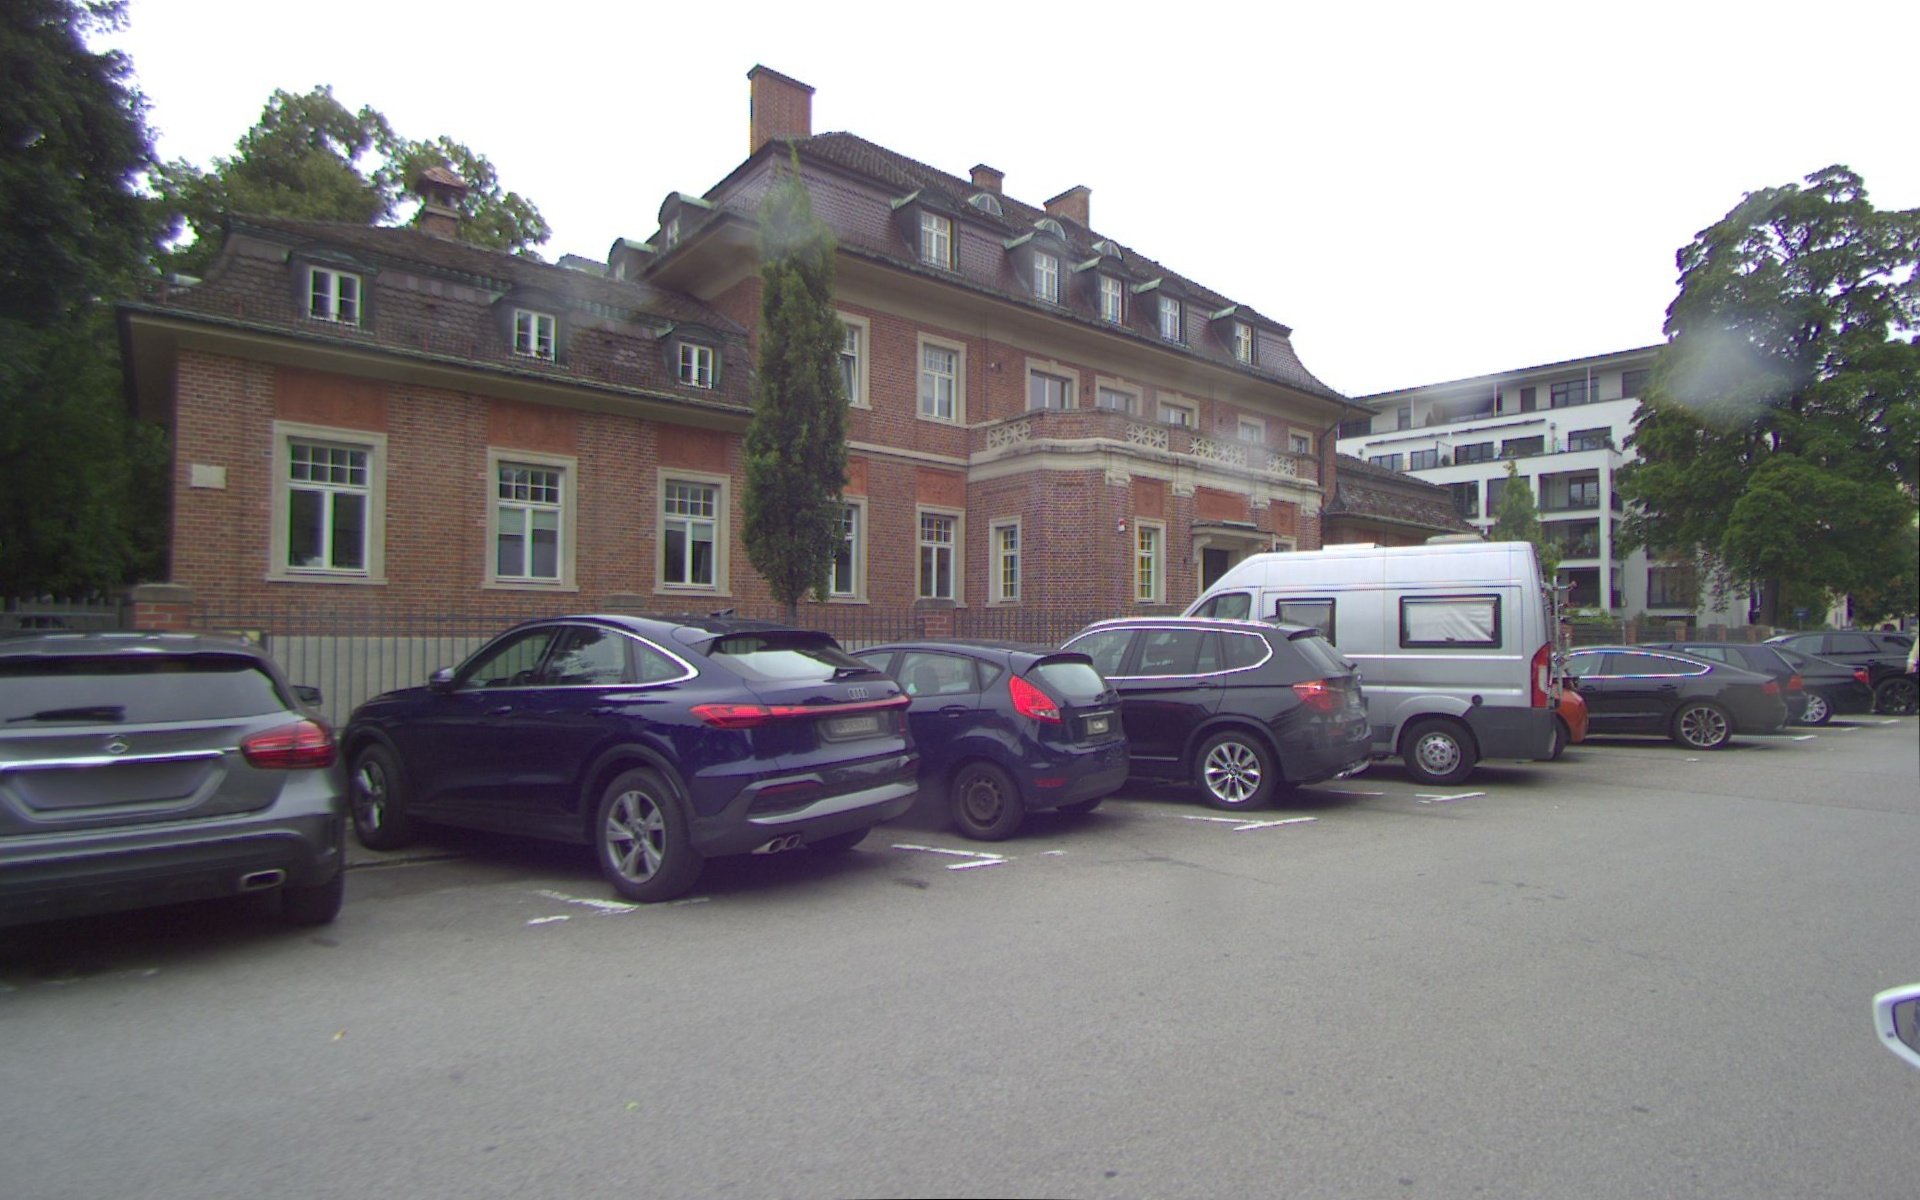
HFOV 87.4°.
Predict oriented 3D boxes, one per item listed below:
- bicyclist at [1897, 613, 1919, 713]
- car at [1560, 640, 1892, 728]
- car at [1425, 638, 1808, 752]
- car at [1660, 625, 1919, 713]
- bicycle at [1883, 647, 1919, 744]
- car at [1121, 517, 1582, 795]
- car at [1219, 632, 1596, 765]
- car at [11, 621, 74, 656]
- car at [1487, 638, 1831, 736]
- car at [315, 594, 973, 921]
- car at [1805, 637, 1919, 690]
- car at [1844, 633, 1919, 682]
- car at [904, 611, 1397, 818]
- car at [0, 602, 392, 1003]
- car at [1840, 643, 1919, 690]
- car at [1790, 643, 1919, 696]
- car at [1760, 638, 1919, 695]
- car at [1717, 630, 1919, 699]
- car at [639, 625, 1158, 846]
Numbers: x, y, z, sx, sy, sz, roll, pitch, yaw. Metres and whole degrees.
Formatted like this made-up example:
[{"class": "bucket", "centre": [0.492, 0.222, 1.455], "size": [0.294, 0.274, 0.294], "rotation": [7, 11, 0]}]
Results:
[{"class": "bicyclist", "centre": [14.019, 0.901, 14.375], "size": [0.920, 1.415, 0.692], "rotation": [2, -2, -34]}, {"class": "car", "centre": [13.645, 1.497, 18.298], "size": [4.442, 1.436, 1.926], "rotation": [-2, -3, 25]}, {"class": "car", "centre": [9.407, 1.331, 14.881], "size": [4.445, 1.470, 1.975], "rotation": [-2, -3, 28]}, {"class": "car", "centre": [17.465, 1.422, 20.870], "size": [4.442, 1.686, 1.987], "rotation": [-2, -4, 25]}, {"class": "bicycle", "centre": [13.977, 1.339, 14.342], "size": [2.096, 1.323, 0.703], "rotation": [2, -2, -34]}, {"class": "car", "centre": [4.415, 0.625, 11.542], "size": [4.557, 2.597, 2.229], "rotation": [-2, -3, 32]}, {"class": "car", "centre": [6.015, 1.232, 13.761], "size": [4.446, 1.537, 1.934], "rotation": [-1, -3, 30]}, {"class": "car", "centre": [-38.042, 1.578, 41.715], "size": [1.741, 1.407, 3.953], "rotation": [2, -2, -41]}, {"class": "car", "centre": [11.429, 1.419, 16.863], "size": [4.442, 1.470, 1.819], "rotation": [-2, -3, 25]}, {"class": "car", "centre": [-2.311, 0.905, 7.015], "size": [4.449, 1.614, 1.961], "rotation": [-2, -4, 32]}, {"class": "car", "centre": [27.378, 1.809, 28.792], "size": [4.429, 1.470, 1.897], "rotation": [-1, -3, 21]}, {"class": "car", "centre": [35.341, 2.096, 36.493], "size": [4.323, 1.721, 2.139], "rotation": [0, -3, 13]}, {"class": "car", "centre": [1.816, 1.046, 10.054], "size": [4.449, 1.646, 1.963], "rotation": [-2, -5, 32]}, {"class": "car", "centre": [-4.762, 0.862, 5.817], "size": [1.917, 1.549, 4.298], "rotation": [4, -4, -38]}, {"class": "car", "centre": [31.512, 2.146, 32.329], "size": [4.323, 1.458, 1.967], "rotation": [0, -3, 15]}, {"class": "car", "centre": [28.638, 2.110, 30.808], "size": [4.429, 1.529, 1.932], "rotation": [-3, -4, 21]}, {"class": "car", "centre": [24.522, 1.761, 27.061], "size": [4.312, 1.470, 1.656], "rotation": [-1, -2, 24]}, {"class": "car", "centre": [21.435, 1.533, 24.463], "size": [4.440, 1.588, 1.889], "rotation": [-1, -3, 23]}, {"class": "car", "centre": [-0.648, 1.058, 8.863], "size": [4.348, 1.506, 1.829], "rotation": [-2, -5, 33]}]
